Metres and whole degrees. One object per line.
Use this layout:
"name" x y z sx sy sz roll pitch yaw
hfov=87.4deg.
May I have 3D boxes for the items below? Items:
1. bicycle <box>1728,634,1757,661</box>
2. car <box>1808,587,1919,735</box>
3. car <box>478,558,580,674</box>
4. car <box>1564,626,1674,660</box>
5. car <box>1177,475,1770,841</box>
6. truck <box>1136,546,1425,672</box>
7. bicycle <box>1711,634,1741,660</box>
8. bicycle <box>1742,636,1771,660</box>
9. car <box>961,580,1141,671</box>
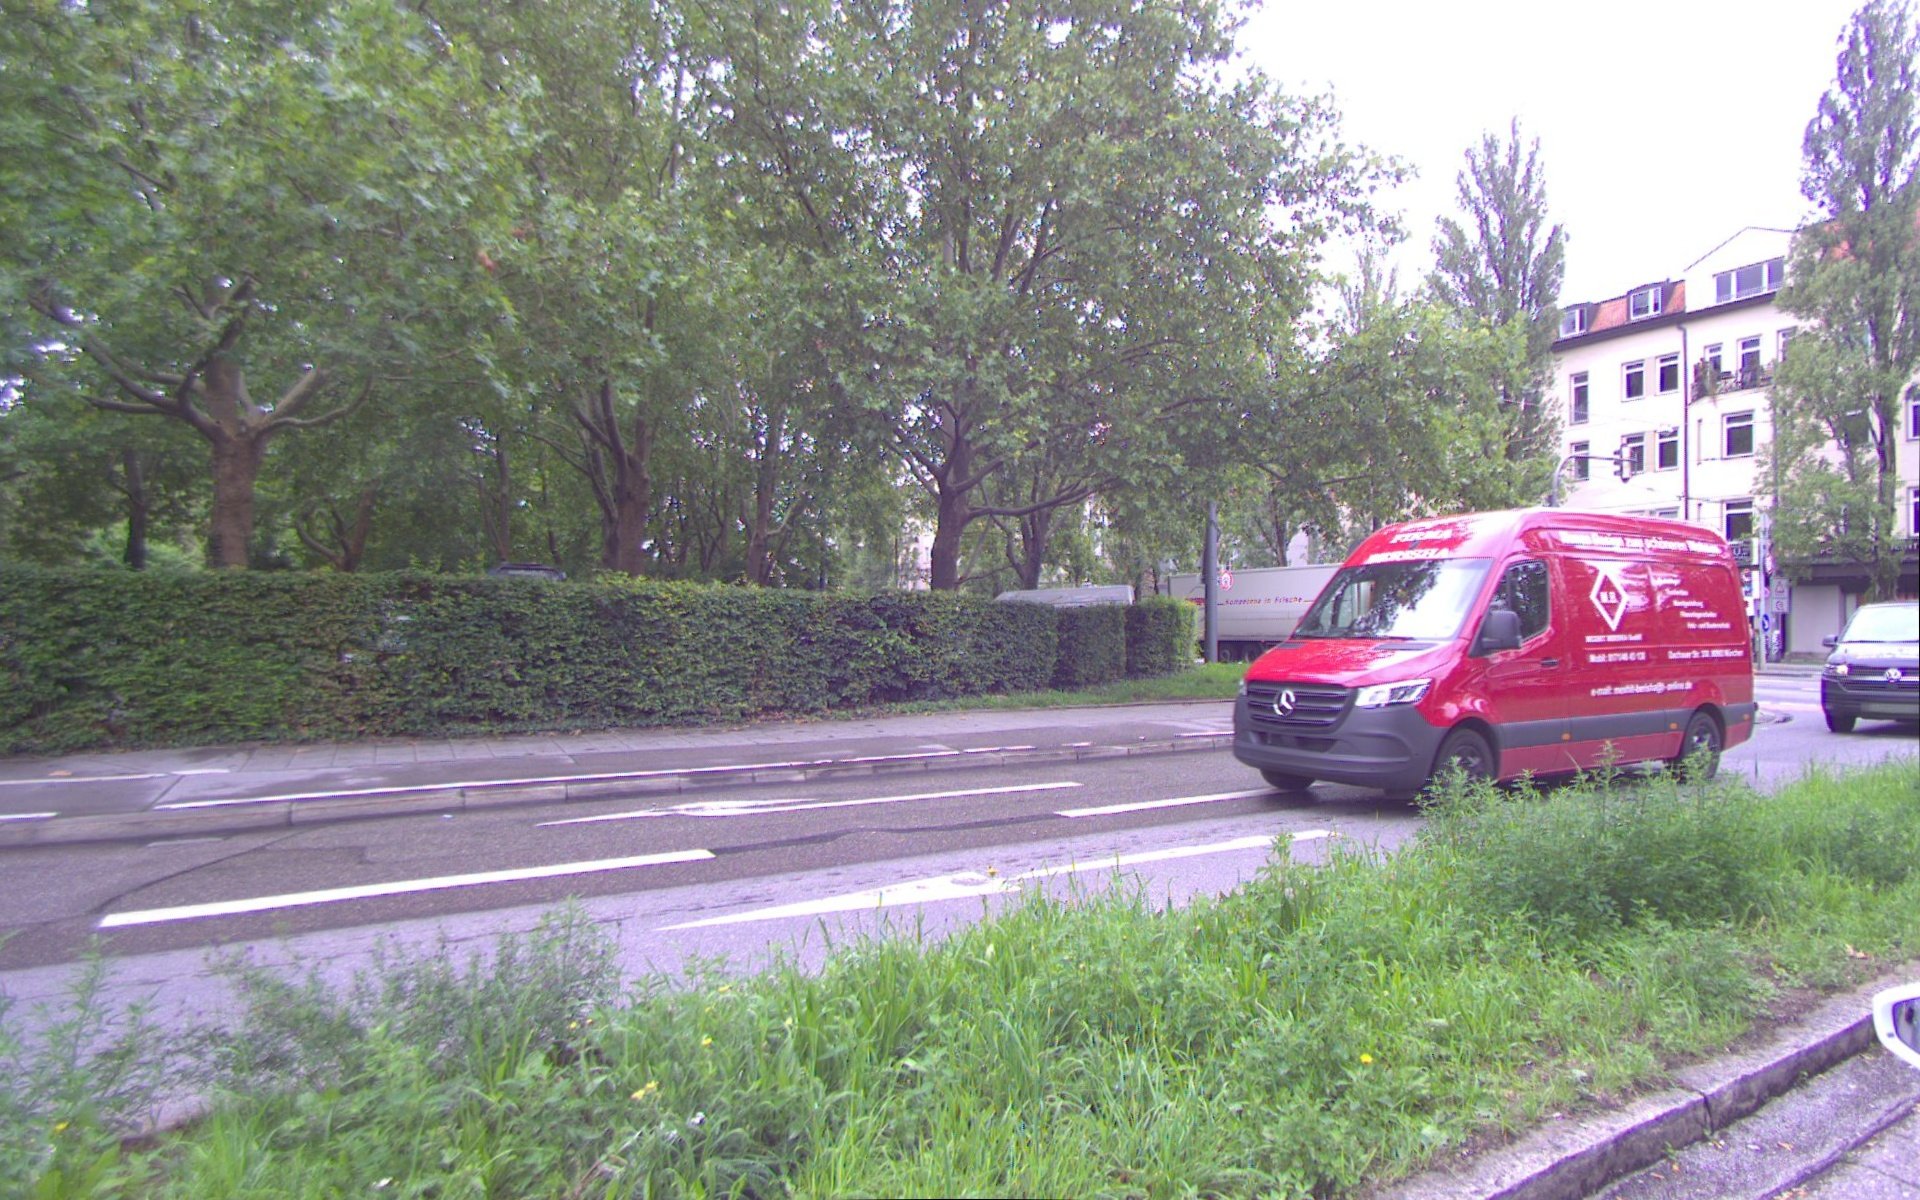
"bicycle" 36.153 2.179 46.394 1.869 1.200 0.492 1 -1 -33
"car" 14.811 0.874 15.178 4.655 2.017 1.846 1 -2 -34
"car" -10.905 0.359 25.169 1.974 2.569 5.823 2 0 -27
"car" 30.924 2.005 47.238 1.786 1.485 3.964 2 -2 -33
"car" 5.087 0.435 9.625 6.008 2.623 2.094 0 -1 -30
"truck" 11.527 0.421 38.051 2.716 4.033 11.623 0 -1 -30
"bicycle" 35.877 2.174 47.042 1.869 1.200 0.492 1 -1 -33
"bicycle" 36.453 2.193 45.964 1.869 1.096 0.492 1 -1 -33
"car" 2.526 0.700 27.385 4.536 2.040 2.001 -5 -1 11
